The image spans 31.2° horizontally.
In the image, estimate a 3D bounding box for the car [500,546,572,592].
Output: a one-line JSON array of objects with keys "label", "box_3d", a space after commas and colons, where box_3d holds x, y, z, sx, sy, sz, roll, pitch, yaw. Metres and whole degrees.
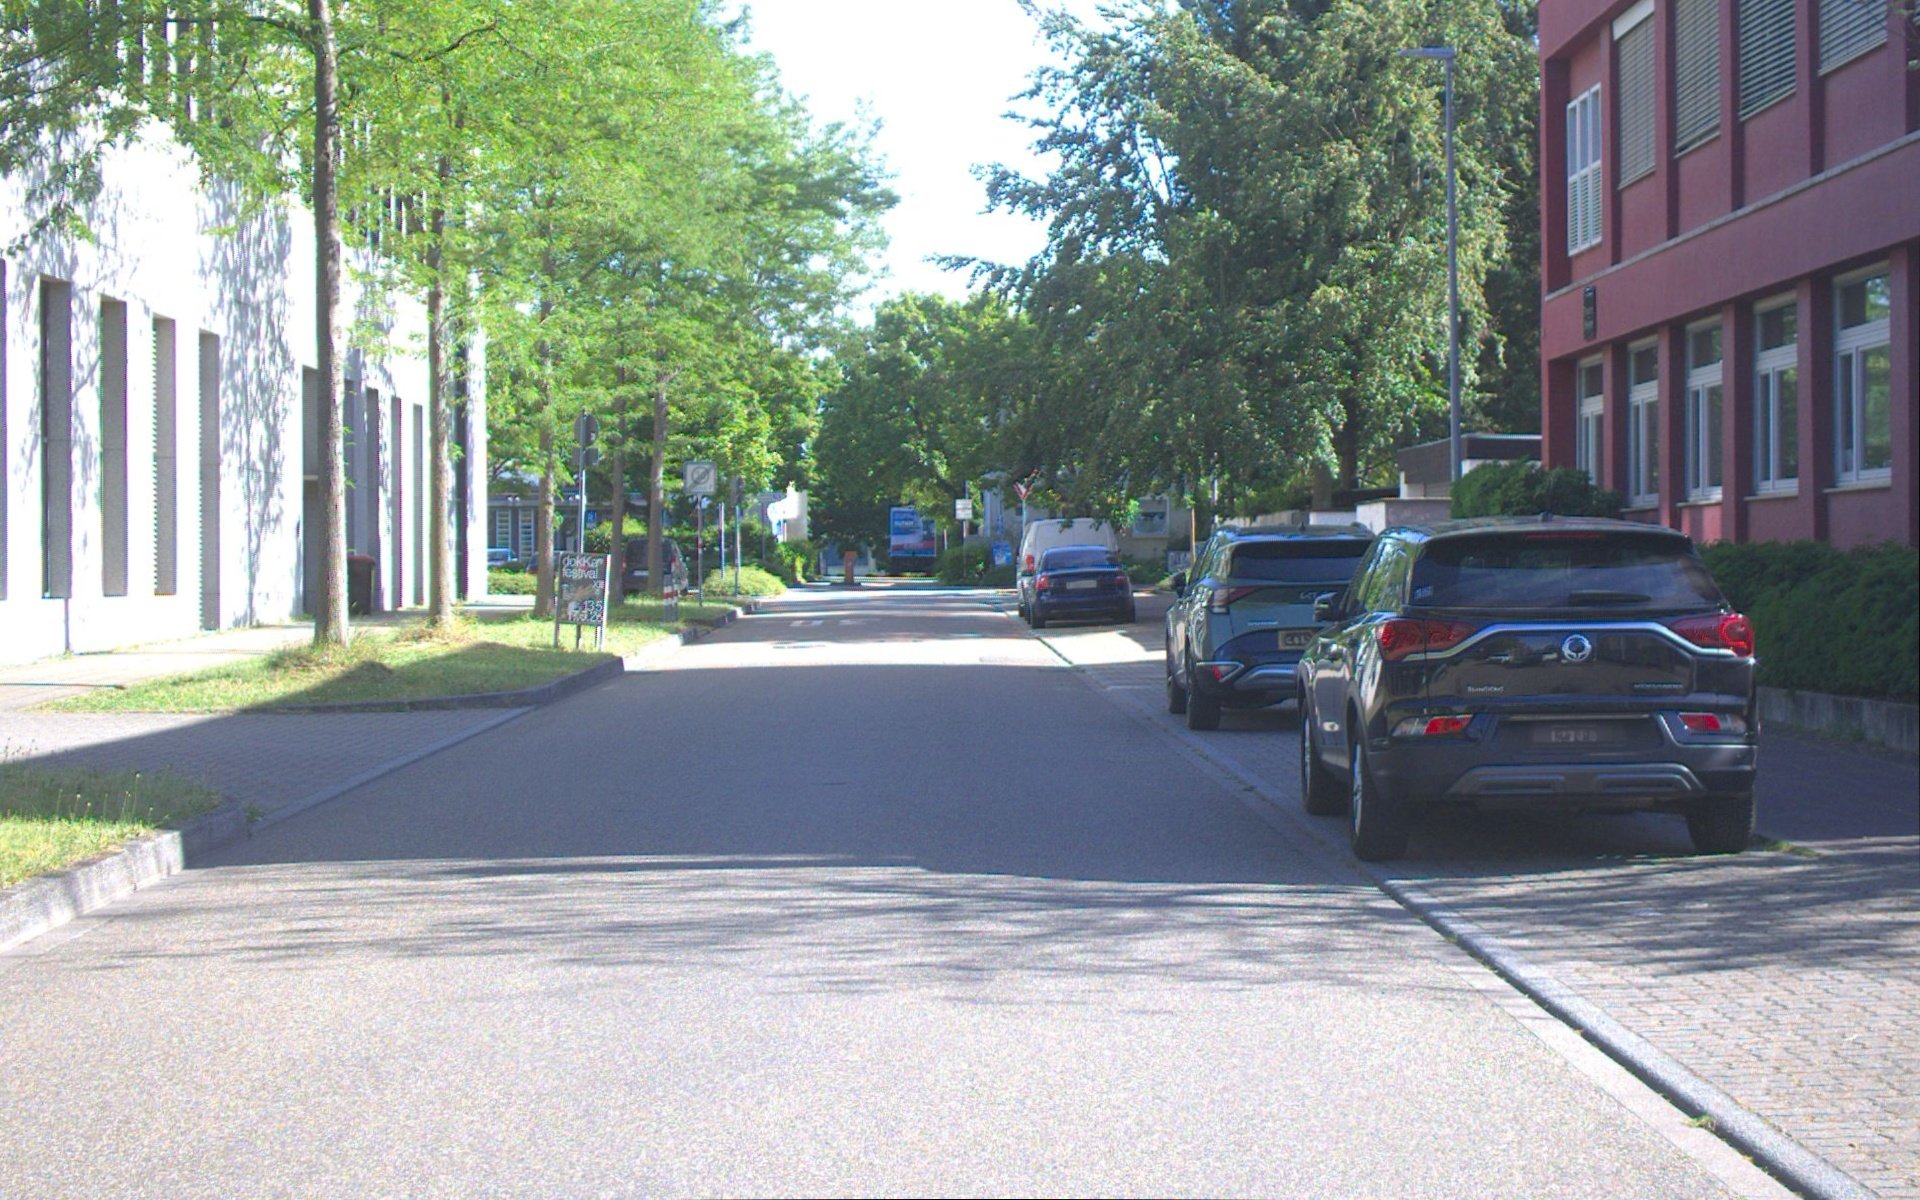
[{"label": "car", "box_3d": [-12.686, -0.940, 103.018, 1.905, 1.337, 3.794, 0, 1, -3]}]

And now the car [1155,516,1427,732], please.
[{"label": "car", "box_3d": [2.670, 0.158, 28.550, 1.855, 1.642, 4.000, -1, 1, 0]}]

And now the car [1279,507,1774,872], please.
[{"label": "car", "box_3d": [2.721, 0.359, 17.444, 1.838, 1.628, 4.201, 0, 1, 0]}]

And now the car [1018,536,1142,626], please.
[{"label": "car", "box_3d": [2.096, -0.368, 61.231, 1.993, 1.437, 4.000, -3, 1, 0]}]

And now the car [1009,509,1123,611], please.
[{"label": "car", "box_3d": [2.028, -0.792, 66.961, 1.993, 1.828, 4.000, -3, 1, 0]}]
